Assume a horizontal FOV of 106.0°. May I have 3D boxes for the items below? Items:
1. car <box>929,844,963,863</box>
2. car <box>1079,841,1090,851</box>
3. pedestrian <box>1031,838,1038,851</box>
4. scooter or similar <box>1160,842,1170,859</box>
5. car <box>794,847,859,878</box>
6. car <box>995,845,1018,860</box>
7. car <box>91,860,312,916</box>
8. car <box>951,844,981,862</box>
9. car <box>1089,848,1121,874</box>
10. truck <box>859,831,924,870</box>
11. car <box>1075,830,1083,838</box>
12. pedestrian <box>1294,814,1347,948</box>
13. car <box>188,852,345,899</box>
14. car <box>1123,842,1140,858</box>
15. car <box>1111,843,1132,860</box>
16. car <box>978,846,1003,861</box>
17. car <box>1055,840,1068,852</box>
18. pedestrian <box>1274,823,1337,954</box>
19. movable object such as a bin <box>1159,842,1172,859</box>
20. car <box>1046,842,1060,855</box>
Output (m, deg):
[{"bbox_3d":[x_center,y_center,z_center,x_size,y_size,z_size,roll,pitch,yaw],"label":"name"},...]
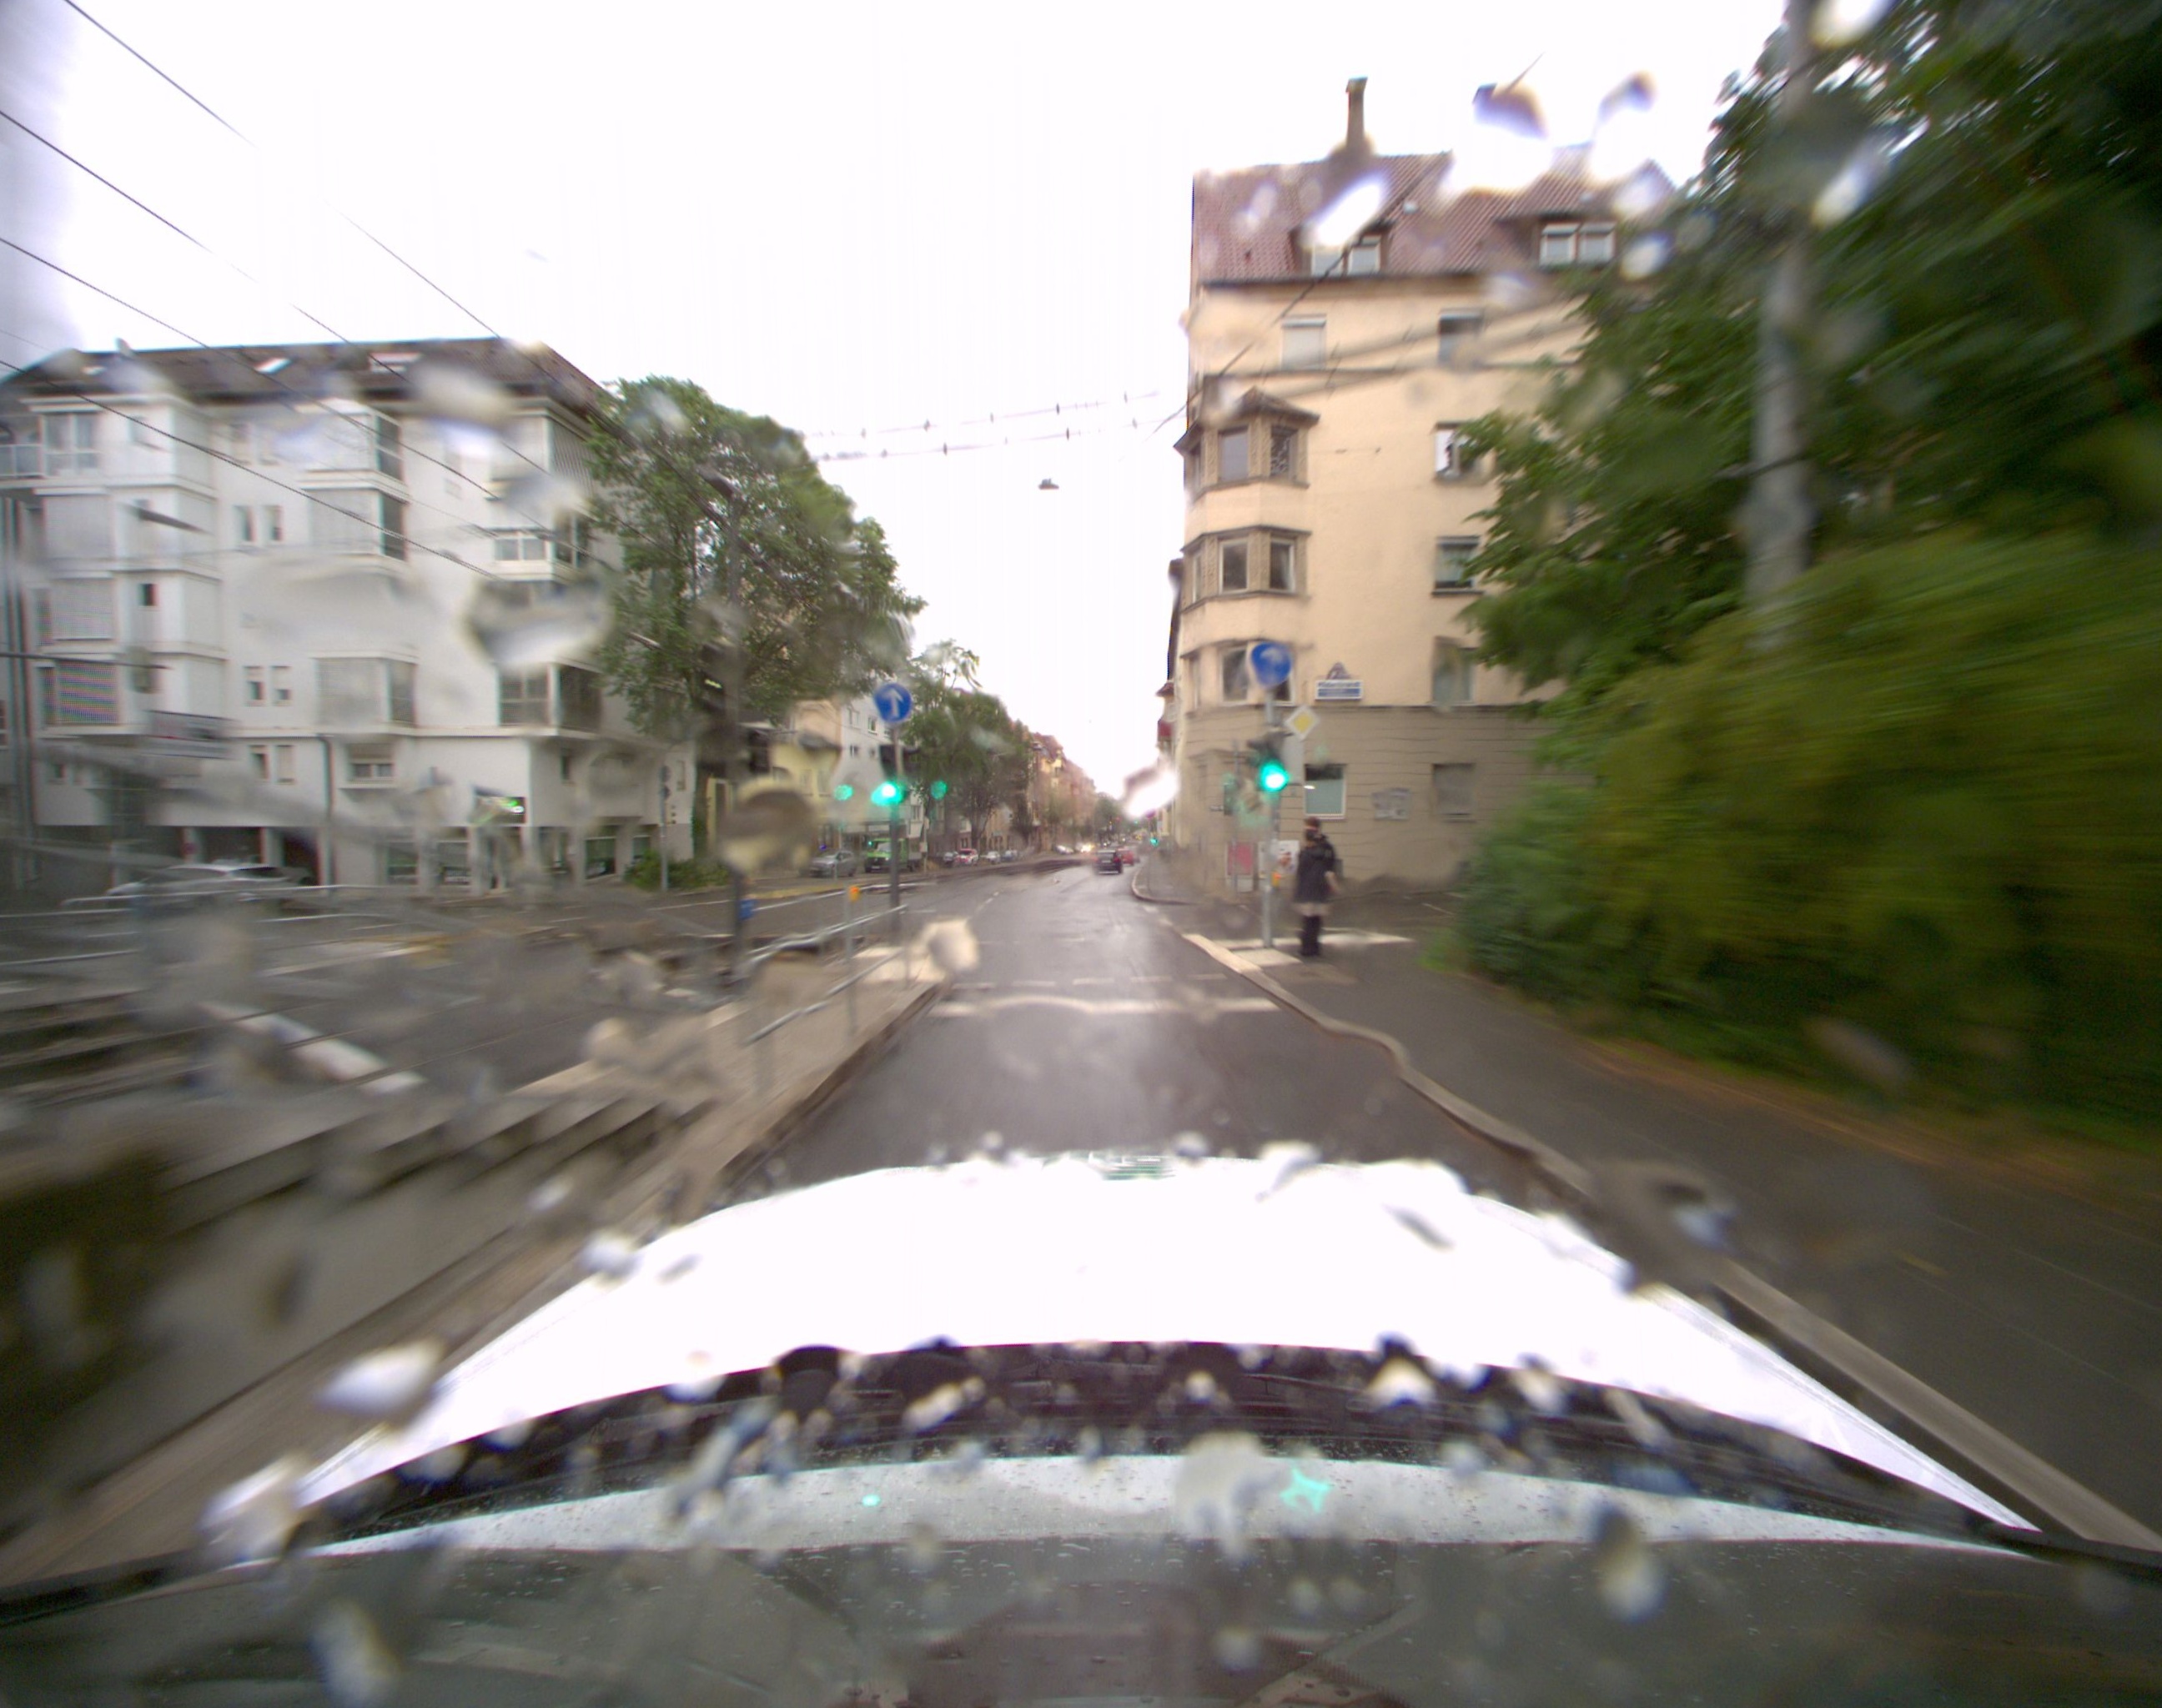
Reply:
[{"bbox_3d":[-11.241,-0.032,68.204,1.765,1.453,4.260,-3,0,4],"label":"car"},{"bbox_3d":[0.805,-1.723,173.897,1.985,2.013,4.351,-1,1,3],"label":"car"},{"bbox_3d":[-7.198,-1.505,126.771,0.868,2.014,0.705,-2,-1,3],"label":"pedestrian"},{"bbox_3d":[8.396,-0.340,81.106,0.915,1.604,0.862,-1,0,0],"label":"scooter or similar"},{"bbox_3d":[-13.733,0.407,44.213,1.717,1.515,4.503,-1,1,6],"label":"car"},{"bbox_3d":[-8.707,-0.160,95.499,1.765,1.619,4.261,-3,0,5],"label":"car"},{"bbox_3d":[-26.325,0.997,24.484,4.691,1.472,2.003,-2,0,5],"label":"car"},{"bbox_3d":[-10.626,-0.124,75.435,1.765,1.546,4.260,-3,0,4],"label":"car"},{"bbox_3d":[1.503,0.392,49.521,1.844,1.473,4.004,-1,1,3],"label":"car"},{"bbox_3d":[-12.545,-0.239,54.323,2.040,2.393,6.335,-1,0,8],"label":"truck"},{"bbox_3d":[-0.475,-5.777,234.474,1.985,2.013,4.004,-1,1,3],"label":"car"},{"bbox_3d":[3.335,0.369,11.380,0.551,1.813,0.651,0,0,2],"label":"pedestrian"},{"bbox_3d":[-29.769,0.727,29.966,1.694,1.535,3.999,-2,0,0],"label":"car"},{"bbox_3d":[5.730,-0.428,92.709,1.940,1.793,4.147,0,0,3],"label":"car"},{"bbox_3d":[3.622,-0.252,73.041,1.844,1.473,4.003,0,0,3],"label":"car"},{"bbox_3d":[-9.636,-0.066,86.845,1.765,1.488,4.261,-3,0,5],"label":"car"},{"bbox_3d":[-3.689,-1.461,151.562,1.985,2.013,4.350,-2,0,3],"label":"car"},{"bbox_3d":[2.960,0.444,10.775,0.692,1.695,0.556,0,0,2],"label":"pedestrian"},{"bbox_3d":[8.576,-0.365,82.607,1.164,1.655,1.309,-2,0,1],"label":"movable object such as a bin"},{"bbox_3d":[-4.856,-0.918,141.576,1.985,2.013,4.350,-2,0,3],"label":"car"}]
